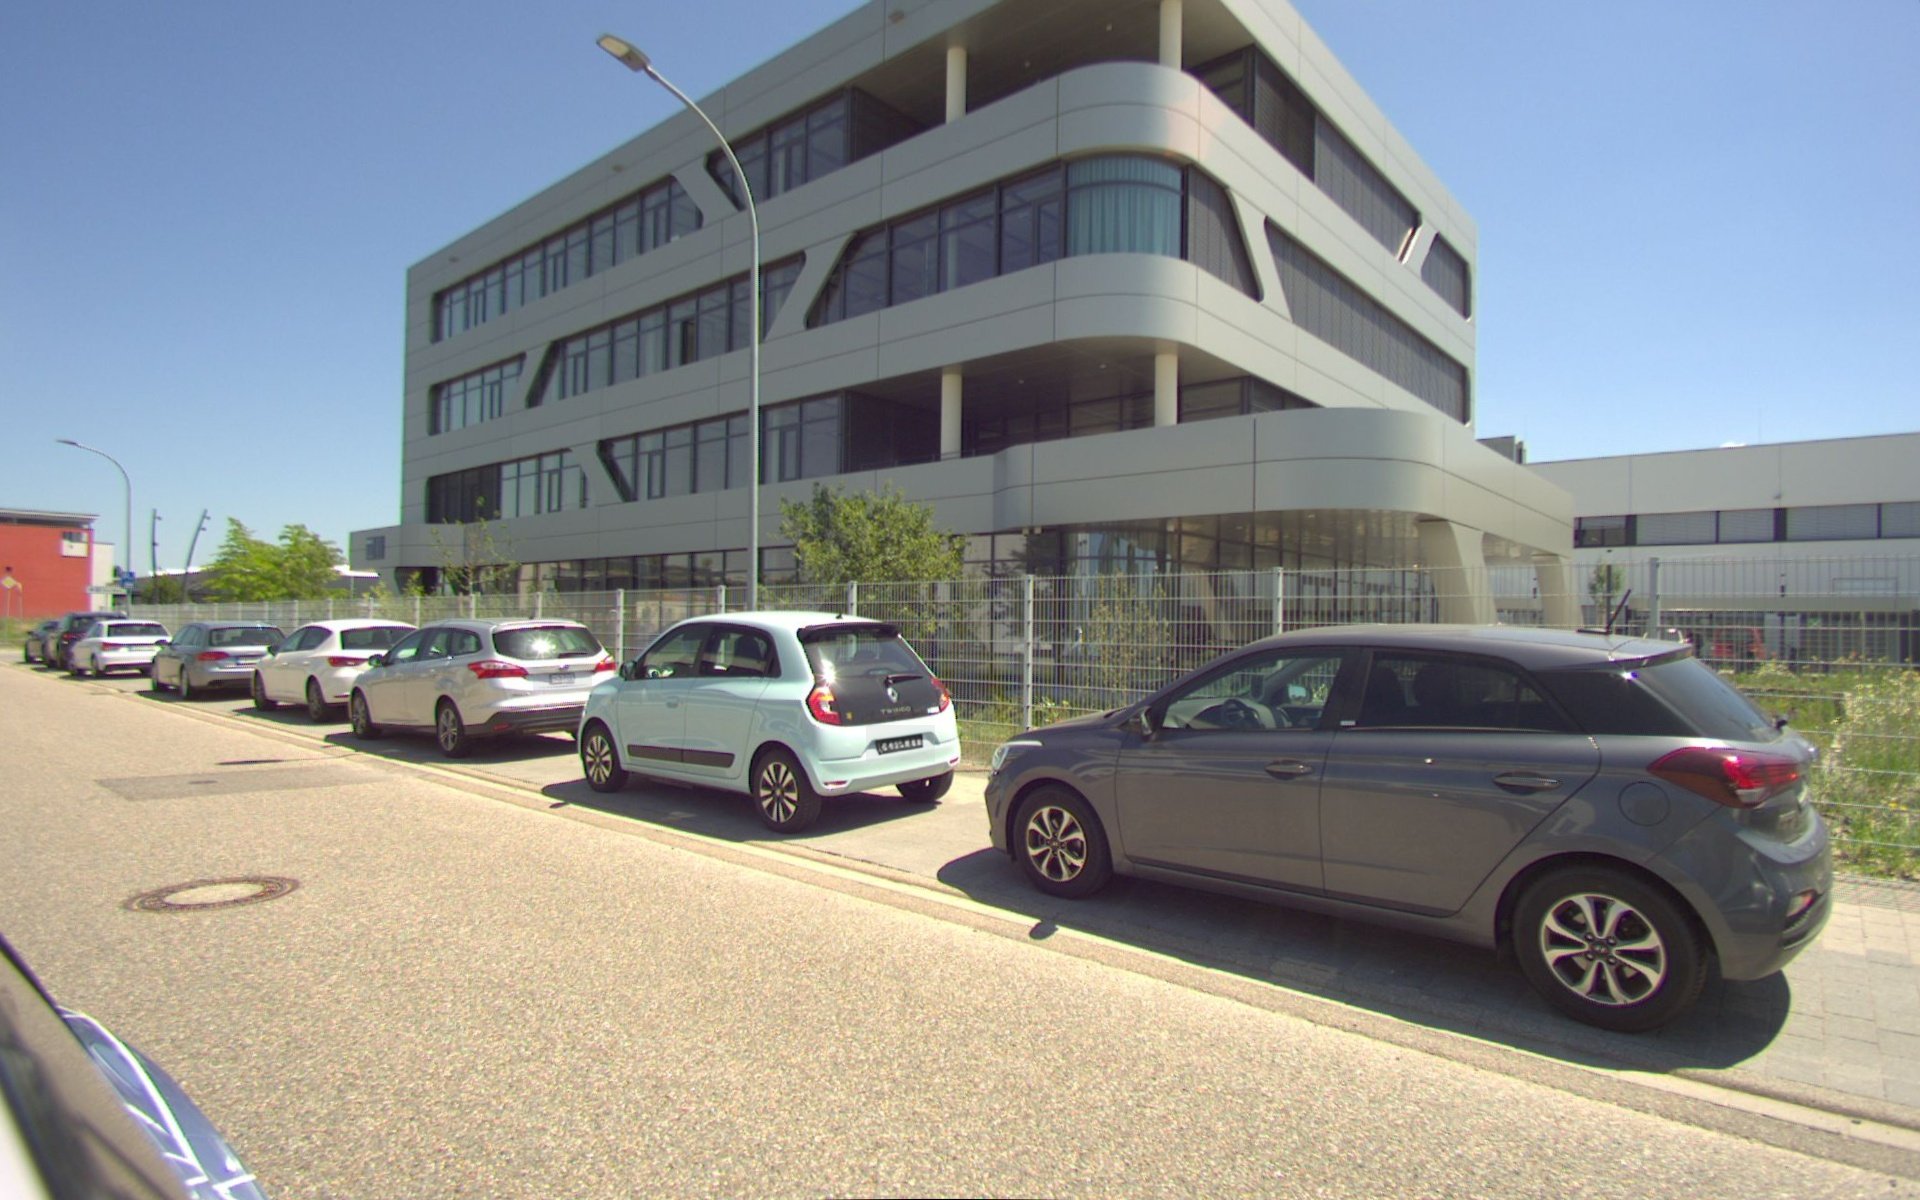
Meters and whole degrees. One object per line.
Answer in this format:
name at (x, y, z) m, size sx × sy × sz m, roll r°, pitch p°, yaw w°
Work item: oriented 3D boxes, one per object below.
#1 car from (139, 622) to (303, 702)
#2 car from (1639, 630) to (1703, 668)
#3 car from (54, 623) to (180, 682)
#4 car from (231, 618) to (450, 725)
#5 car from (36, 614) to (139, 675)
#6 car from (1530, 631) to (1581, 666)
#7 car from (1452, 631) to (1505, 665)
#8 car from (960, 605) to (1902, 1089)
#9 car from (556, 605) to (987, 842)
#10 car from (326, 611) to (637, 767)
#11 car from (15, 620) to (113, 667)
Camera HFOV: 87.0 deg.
car at (-14.574, 1.153, 19.859) m, size 4.637 × 1.396 × 1.666 m, roll -2°, pitch -2°, yaw 42°
car at (31.810, 2.182, 45.246) m, size 1.921 × 1.597 × 3.945 m, roll -1°, pitch -3°, yaw 41°
car at (-21.335, 1.283, 25.575) m, size 3.932 × 1.396 × 1.682 m, roll -2°, pitch -2°, yaw 39°
car at (-9.886, 1.018, 16.001) m, size 4.437 × 1.455 × 1.685 m, roll -1°, pitch -1°, yaw 41°
car at (-25.730, 1.271, 29.786) m, size 4.850 × 1.664 × 1.750 m, roll -2°, pitch -2°, yaw 43°
car at (28.837, 2.327, 48.960) m, size 1.917 × 1.597 × 3.953 m, roll -1°, pitch -2°, yaw 34°
car at (26.075, 2.407, 50.860) m, size 1.917 × 1.597 × 3.953 m, roll -1°, pitch -2°, yaw 34°
car at (2.009, 0.797, 5.118) m, size 3.971 × 1.512 × 1.617 m, roll -1°, pitch -1°, yaw 42°
car at (-1.698, 0.833, 8.463) m, size 3.655 × 1.548 × 1.618 m, roll -1°, pitch -1°, yaw 41°
car at (-5.905, 0.916, 12.208) m, size 4.569 × 1.548 × 1.685 m, roll -1°, pitch -1°, yaw 41°
car at (-29.673, 1.412, 33.493) m, size 4.181 × 1.477 × 1.752 m, roll -2°, pitch -2°, yaw 39°
